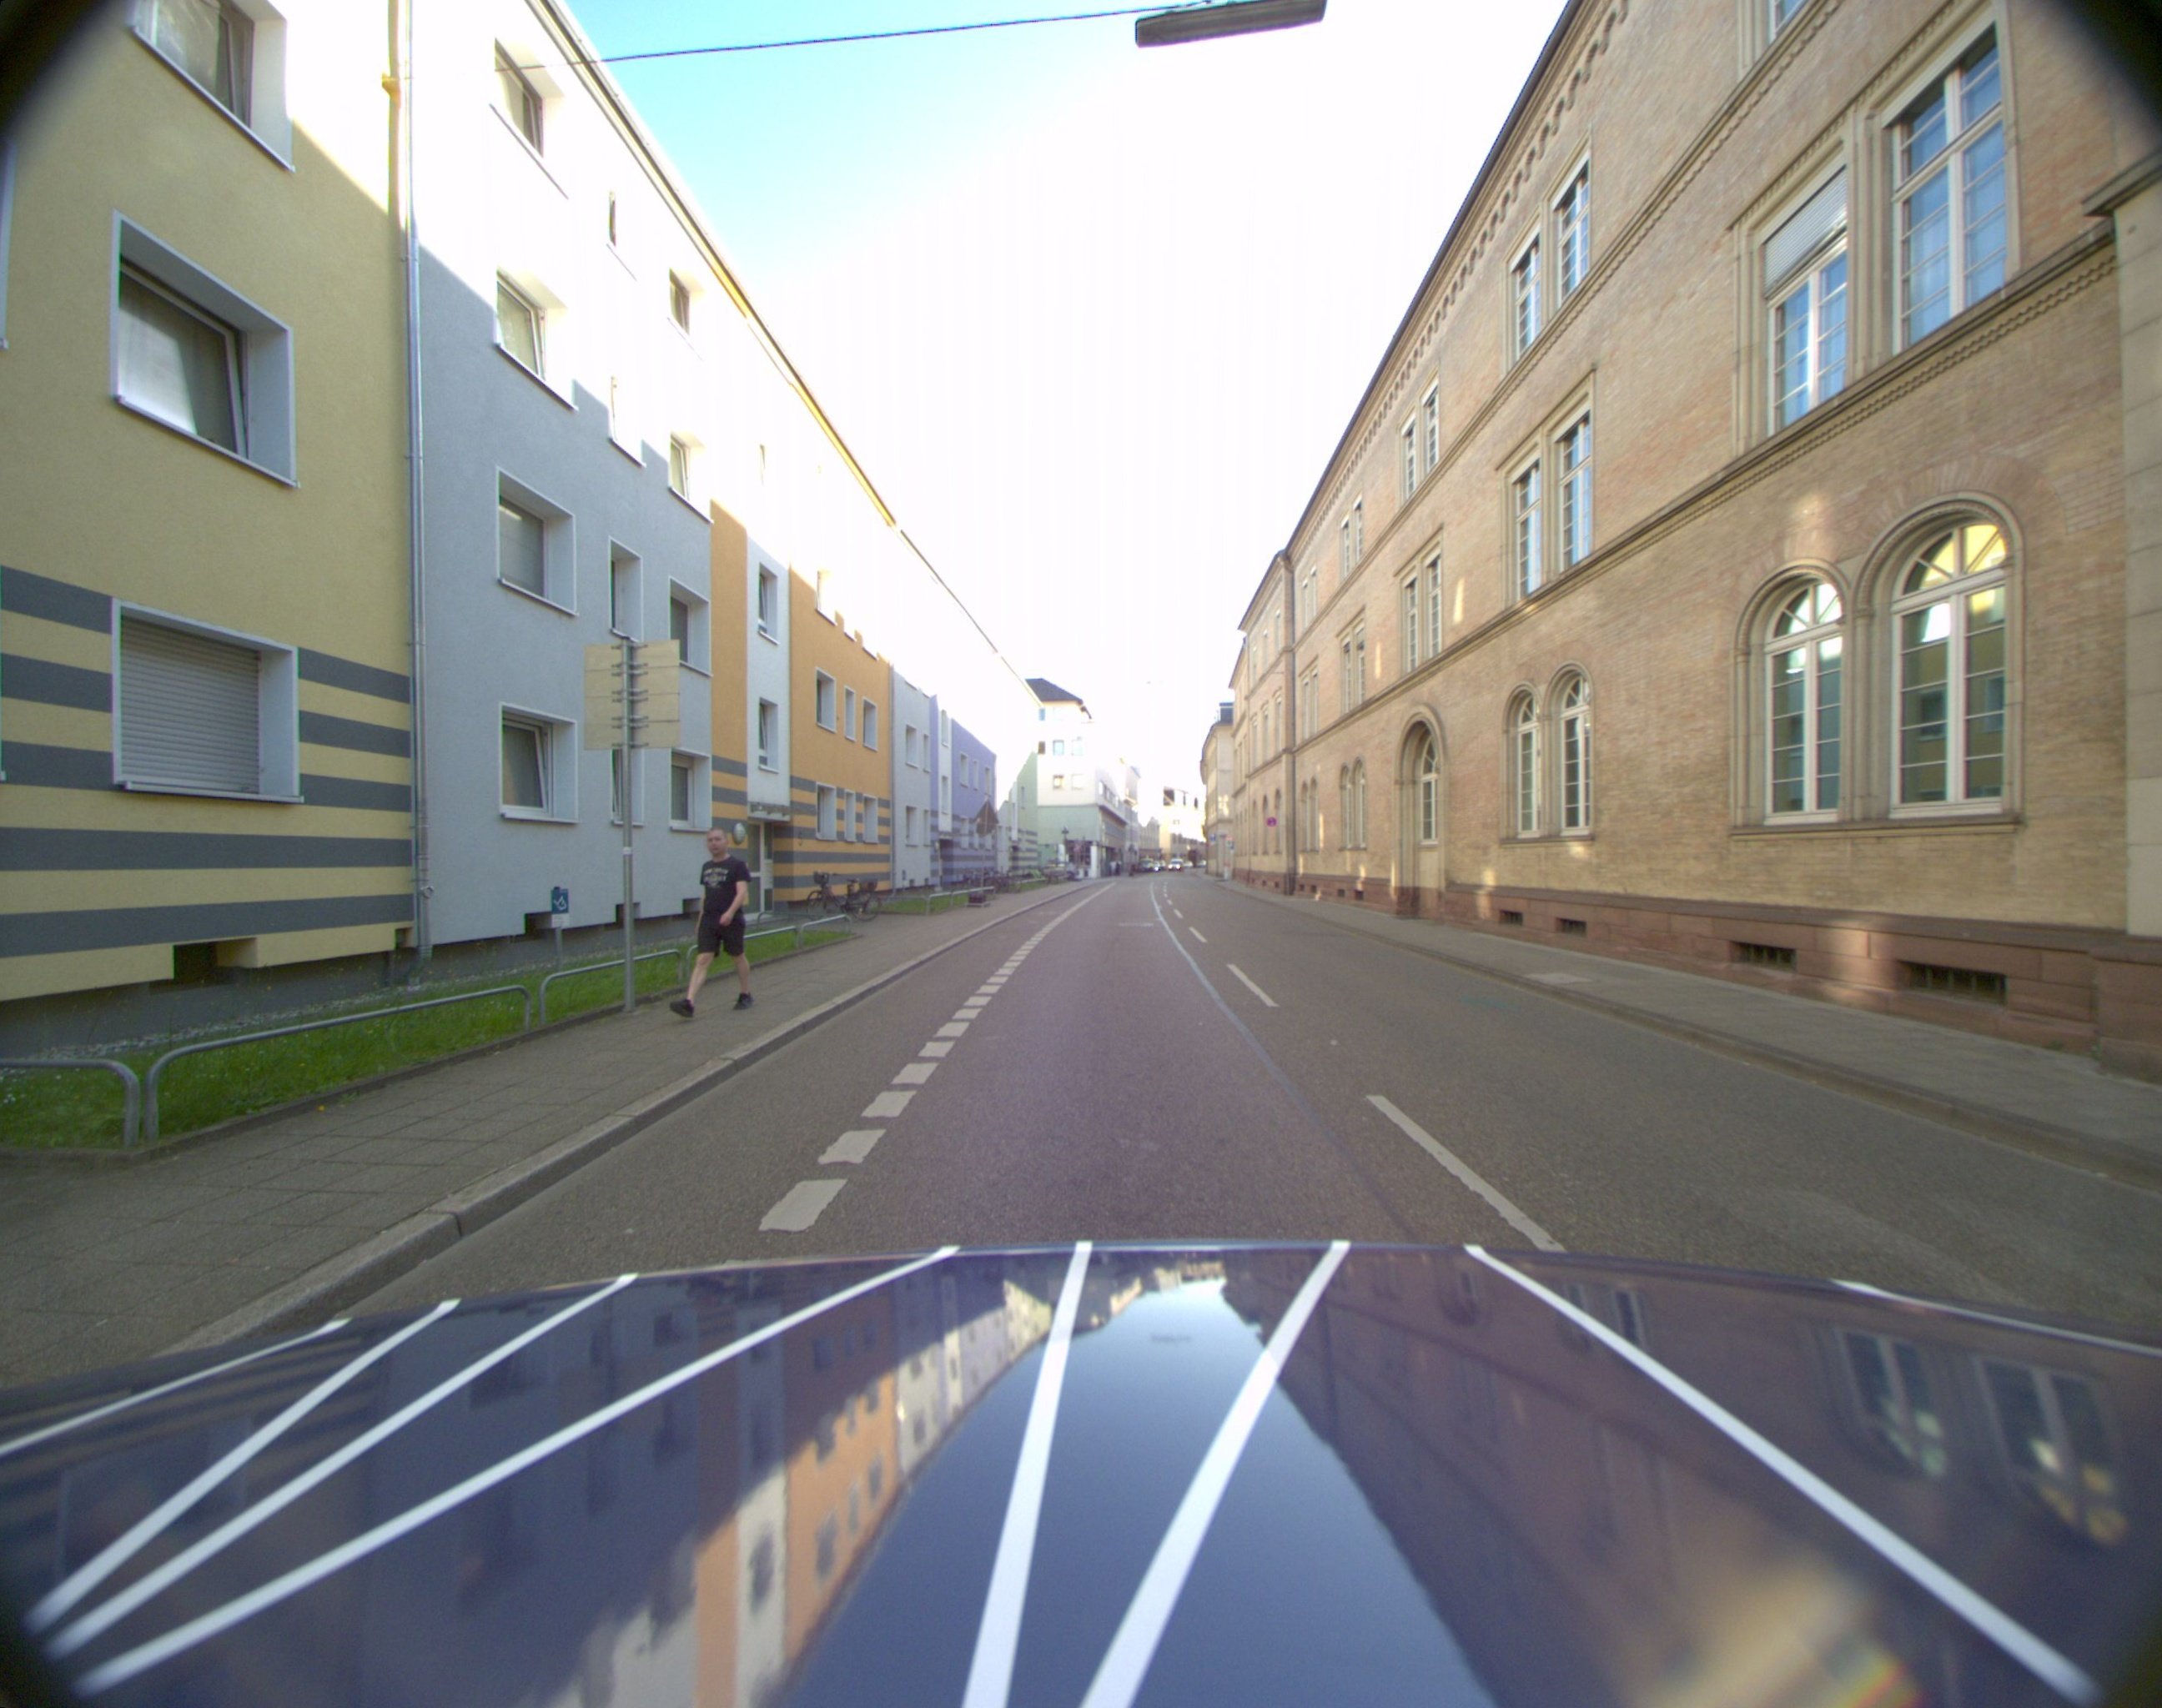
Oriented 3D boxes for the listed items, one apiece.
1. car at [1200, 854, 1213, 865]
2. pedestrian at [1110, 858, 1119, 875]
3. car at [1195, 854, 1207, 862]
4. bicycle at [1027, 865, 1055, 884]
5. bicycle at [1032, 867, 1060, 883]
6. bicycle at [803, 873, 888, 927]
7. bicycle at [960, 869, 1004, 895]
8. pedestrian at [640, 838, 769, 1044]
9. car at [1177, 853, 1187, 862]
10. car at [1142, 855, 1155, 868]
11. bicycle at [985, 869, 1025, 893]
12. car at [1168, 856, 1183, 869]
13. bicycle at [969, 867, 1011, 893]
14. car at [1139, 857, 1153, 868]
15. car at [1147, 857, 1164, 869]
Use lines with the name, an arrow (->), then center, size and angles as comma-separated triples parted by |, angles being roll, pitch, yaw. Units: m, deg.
car -> 19.902, 0.874, 120.395 | 1.662, 1.714, 3.743 | 0, 0, 14
pedestrian -> 3.016, 1.161, 68.705 | 0.707, 1.510, 0.662 | -1, 0, 11
car -> 25.874, 0.899, 163.672 | 1.925, 1.714, 4.236 | 0, 0, 19
bicycle -> -2.418, 1.231, 46.126 | 1.711, 1.097, 0.584 | 1, 0, -2
bicycle -> -2.170, 1.287, 47.586 | 1.711, 0.972, 0.516 | 1, 0, -2
bicycle -> -5.289, 1.031, 17.111 | 1.711, 1.152, 0.636 | 1, 0, -2
bicycle -> -4.150, 1.157, 31.863 | 1.710, 1.039, 0.636 | 1, 0, 2
pedestrian -> -3.484, 0.761, 7.109 | 0.646, 1.778, 0.916 | 3, 1, 4
car -> 19.928, 0.703, 149.627 | 1.534, 1.714, 3.743 | 0, 0, 16
car -> 9.472, 1.034, 106.051 | 1.535, 1.714, 3.741 | 0, 0, 8
bicycle -> -3.389, 1.184, 33.767 | 1.711, 1.029, 0.636 | 1, 0, -2
car -> 13.743, 1.212, 109.974 | 1.921, 1.712, 4.964 | 0, 0, 10
bicycle -> -3.948, 1.120, 33.006 | 1.710, 1.075, 0.636 | 1, 0, 1
car -> 8.645, 1.171, 100.776 | 1.634, 1.405, 3.687 | 0, 0, 8
car -> 11.057, 1.389, 113.096 | 1.860, 1.714, 3.743 | 0, 0, 15
